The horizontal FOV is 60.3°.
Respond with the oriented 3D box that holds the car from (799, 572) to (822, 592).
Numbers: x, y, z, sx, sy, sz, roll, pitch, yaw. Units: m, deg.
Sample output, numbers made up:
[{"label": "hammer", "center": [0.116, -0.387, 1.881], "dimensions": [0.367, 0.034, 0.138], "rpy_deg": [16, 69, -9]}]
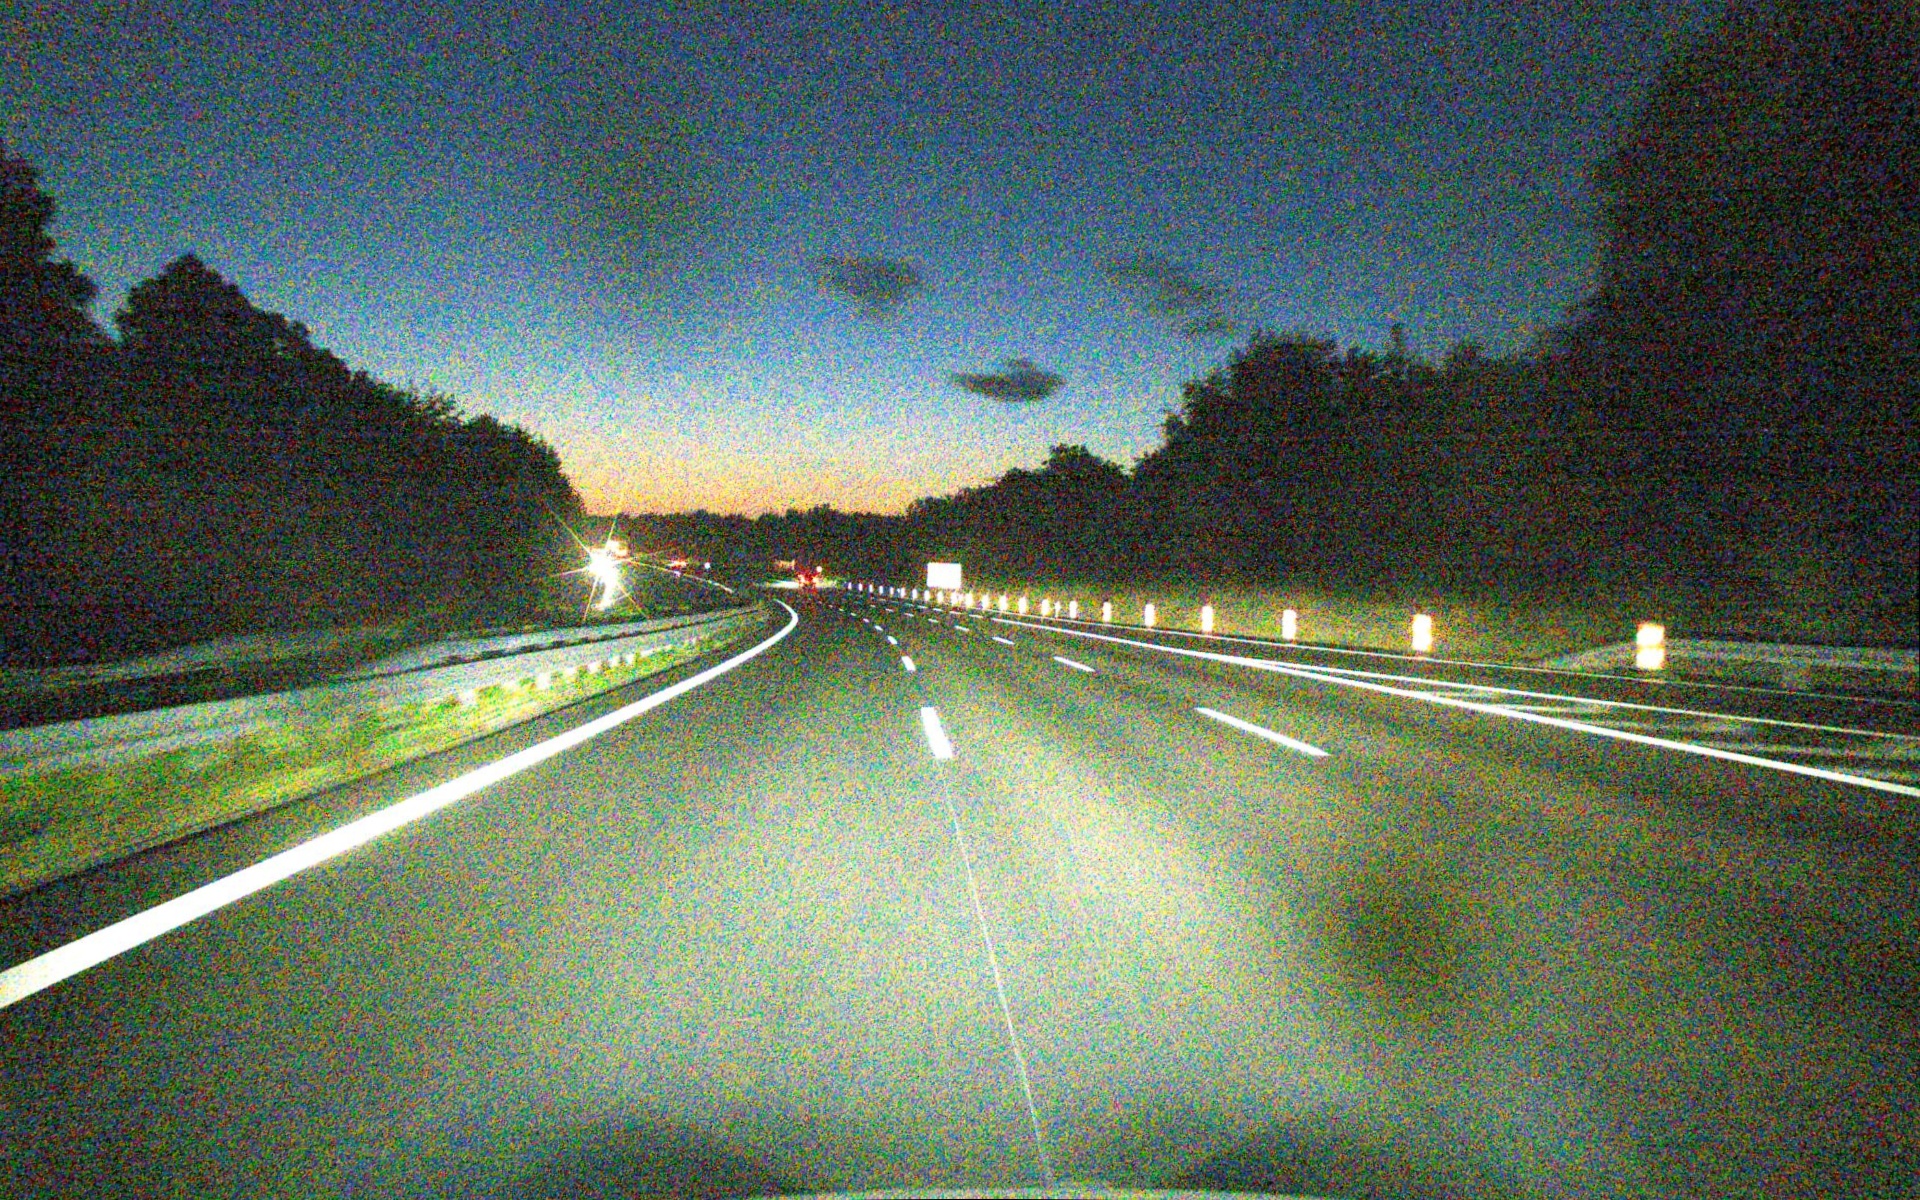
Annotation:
[{"label": "car", "center": [-22.063, -2.660, 243.241], "dimensions": [2.484, 2.597, 6.031], "rpy_deg": [2, 1, -13]}]
